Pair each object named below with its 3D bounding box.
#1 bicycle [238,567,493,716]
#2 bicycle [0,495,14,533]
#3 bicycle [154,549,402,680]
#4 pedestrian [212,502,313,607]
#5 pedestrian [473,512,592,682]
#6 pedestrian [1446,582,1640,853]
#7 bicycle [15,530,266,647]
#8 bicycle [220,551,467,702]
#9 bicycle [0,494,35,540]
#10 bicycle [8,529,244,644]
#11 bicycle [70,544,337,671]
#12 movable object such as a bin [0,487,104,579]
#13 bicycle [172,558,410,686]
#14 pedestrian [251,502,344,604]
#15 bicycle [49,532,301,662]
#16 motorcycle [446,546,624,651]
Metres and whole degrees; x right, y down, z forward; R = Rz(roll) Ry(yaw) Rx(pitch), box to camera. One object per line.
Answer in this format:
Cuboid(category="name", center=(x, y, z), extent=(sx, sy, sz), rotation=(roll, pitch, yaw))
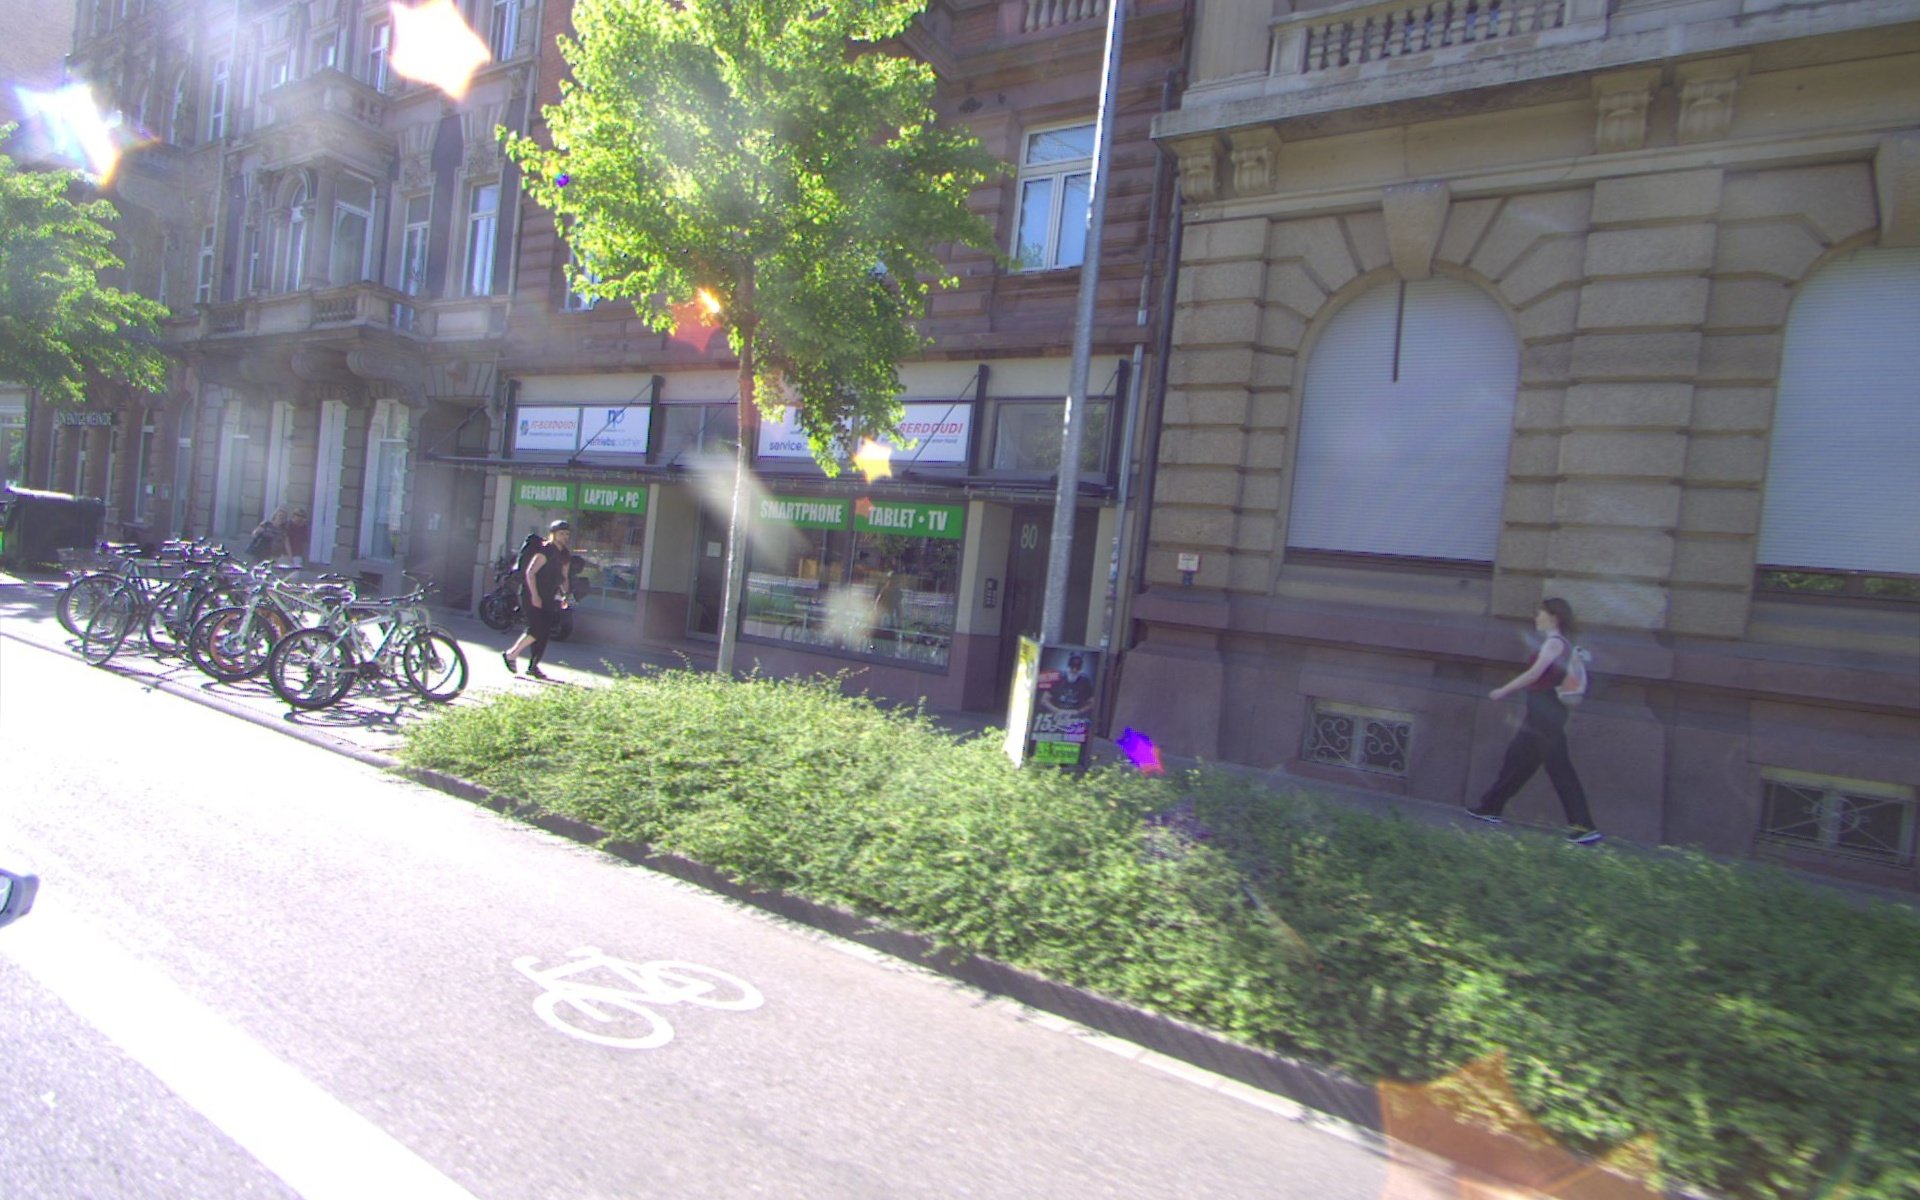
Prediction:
Cuboid(category="bicycle", center=(-5.111, 0.343, 8.802), extent=(0.509, 1.123, 1.894), rotation=(6, 2, 27))
Cuboid(category="bicycle", center=(-29.887, -2.692, 30.685), extent=(2.144, 1.120, 0.876), rotation=(6, 4, 29))
Cuboid(category="bicycle", center=(-6.568, 0.150, 9.822), extent=(0.428, 1.123, 1.978), rotation=(6, 2, 29))
Cuboid(category="pedestrian", center=(-11.669, -0.755, 16.839), extent=(1.062, 1.587, 0.951), rotation=(8, 3, 31))
Cuboid(category="pedestrian", center=(-4.765, -0.048, 11.261), extent=(0.885, 1.760, 0.848), rotation=(4, 4, 1))
Cuboid(category="pedestrian", center=(4.705, 0.885, 8.125), extent=(1.081, 1.946, 0.888), rotation=(7, 3, 37))
Cuboid(category="bicycle", center=(-8.841, -0.120, 10.970), extent=(0.600, 1.122, 2.045), rotation=(6, 3, 26))
Cuboid(category="bicycle", center=(-5.410, 0.253, 8.968), extent=(0.367, 1.194, 1.868), rotation=(6, 1, 29))
Cuboid(category="bicycle", center=(-27.441, -2.416, 28.932), extent=(1.771, 1.217, 0.748), rotation=(6, 2, 32))
Cuboid(category="bicycle", center=(-9.183, -0.152, 11.178), extent=(0.473, 1.140, 1.975), rotation=(8, 4, 26))
Cuboid(category="bicycle", center=(-7.616, 0.069, 10.303), extent=(0.477, 1.117, 2.290), rotation=(6, 2, 17))
Cuboid(category="movable object such as a bin", center=(-16.767, -1.232, 18.289), extent=(1.720, 1.516, 1.373), rotation=(6, 3, 33))
Cuboid(category="bicycle", center=(-6.309, 0.209, 9.606), extent=(0.561, 1.069, 1.817), rotation=(6, 2, 26))
Cuboid(category="pedestrian", center=(-11.782, -0.825, 17.897), extent=(0.976, 1.661, 0.971), rotation=(8, 3, 32))
Cuboid(category="bicycle", center=(-7.966, -0.050, 10.361), extent=(0.421, 1.171, 2.150), rotation=(6, 3, 18))
Cuboid(category="motorcycle", center=(-6.526, -0.044, 15.373), extent=(2.932, 1.281, 0.867), rotation=(6, -1, 32))
